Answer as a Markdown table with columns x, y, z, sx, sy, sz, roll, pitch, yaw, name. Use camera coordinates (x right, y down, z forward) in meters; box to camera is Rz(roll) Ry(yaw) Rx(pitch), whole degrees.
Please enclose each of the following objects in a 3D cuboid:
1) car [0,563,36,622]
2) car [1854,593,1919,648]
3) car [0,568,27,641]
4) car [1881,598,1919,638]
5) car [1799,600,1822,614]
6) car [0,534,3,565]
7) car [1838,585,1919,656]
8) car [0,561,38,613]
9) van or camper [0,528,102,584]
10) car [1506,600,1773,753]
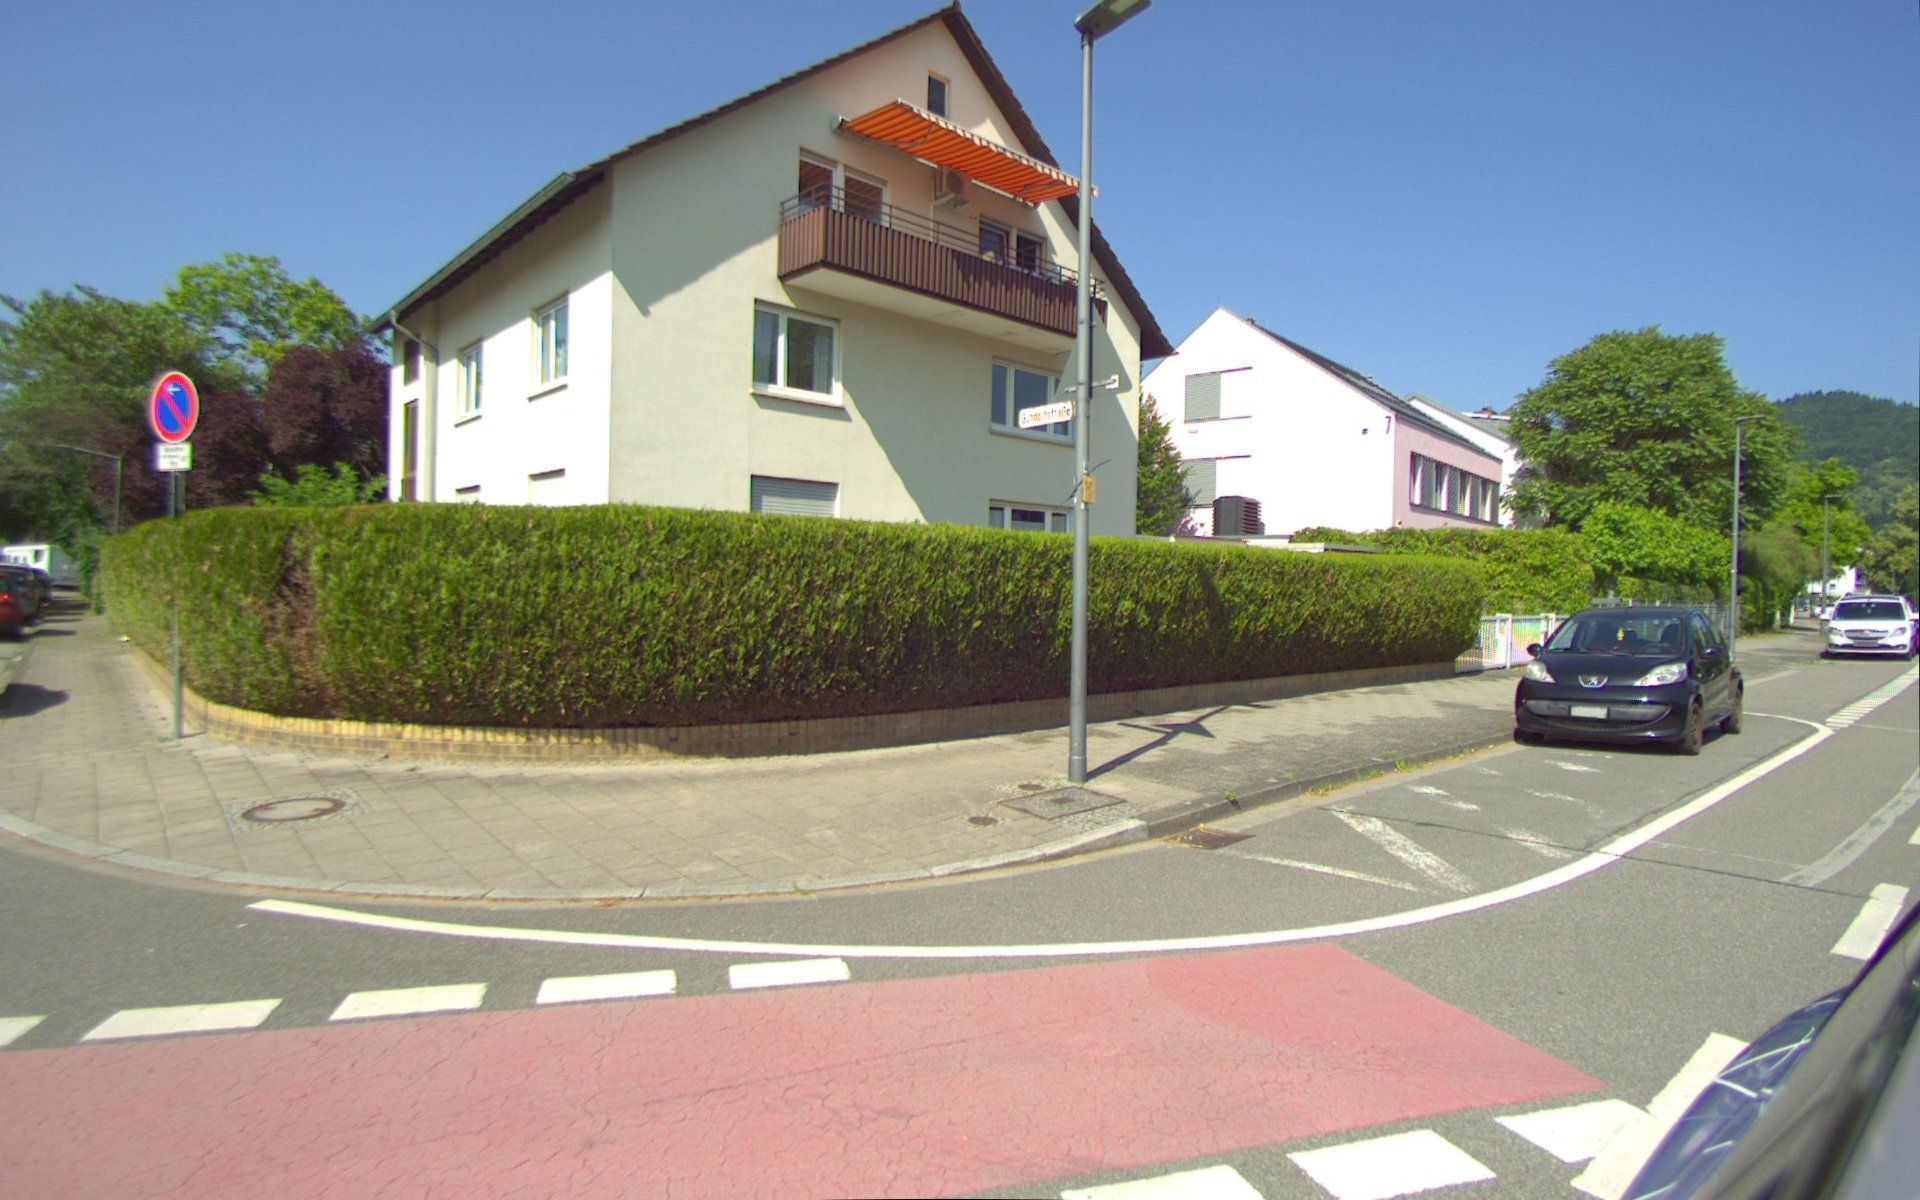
| x | y | z | sx | sy | sz | roll | pitch | yaw | name |
| --- | --- | --- | --- | --- | --- | --- | --- | --- | --- |
| -26.386 | -0.247 | 27.473 | 1.884 | 1.524 | 3.992 | 1 | 1 | -43 | car |
| 29.671 | 0.627 | 32.065 | 1.763 | 1.613 | 4.243 | 2 | 0 | 45 | car |
| -21.505 | 0.039 | 22.087 | 1.620 | 1.474 | 3.992 | 1 | 1 | -42 | car |
| 39.731 | 0.744 | 42.110 | 4.709 | 1.579 | 1.812 | 1 | -2 | -45 | car |
| 111.820 | 0.877 | 133.089 | 1.987 | 1.727 | 3.950 | 1 | 1 | 35 | car |
| -73.672 | -3.758 | 74.983 | 5.698 | 2.318 | 2.584 | 1 | 1 | 31 | car |
| 26.002 | 0.509 | 28.399 | 1.762 | 1.850 | 4.524 | -1 | 0 | 45 | car |
| -30.172 | -0.448 | 31.690 | 1.884 | 1.576 | 3.992 | 1 | 1 | -43 | car |
| -59.989 | -2.787 | 65.675 | 10.459 | 3.423 | 3.112 | 1 | 1 | 29 | van or camper |
| 7.726 | 0.736 | 11.362 | 3.933 | 1.408 | 1.618 | 0 | -2 | -43 | car |
